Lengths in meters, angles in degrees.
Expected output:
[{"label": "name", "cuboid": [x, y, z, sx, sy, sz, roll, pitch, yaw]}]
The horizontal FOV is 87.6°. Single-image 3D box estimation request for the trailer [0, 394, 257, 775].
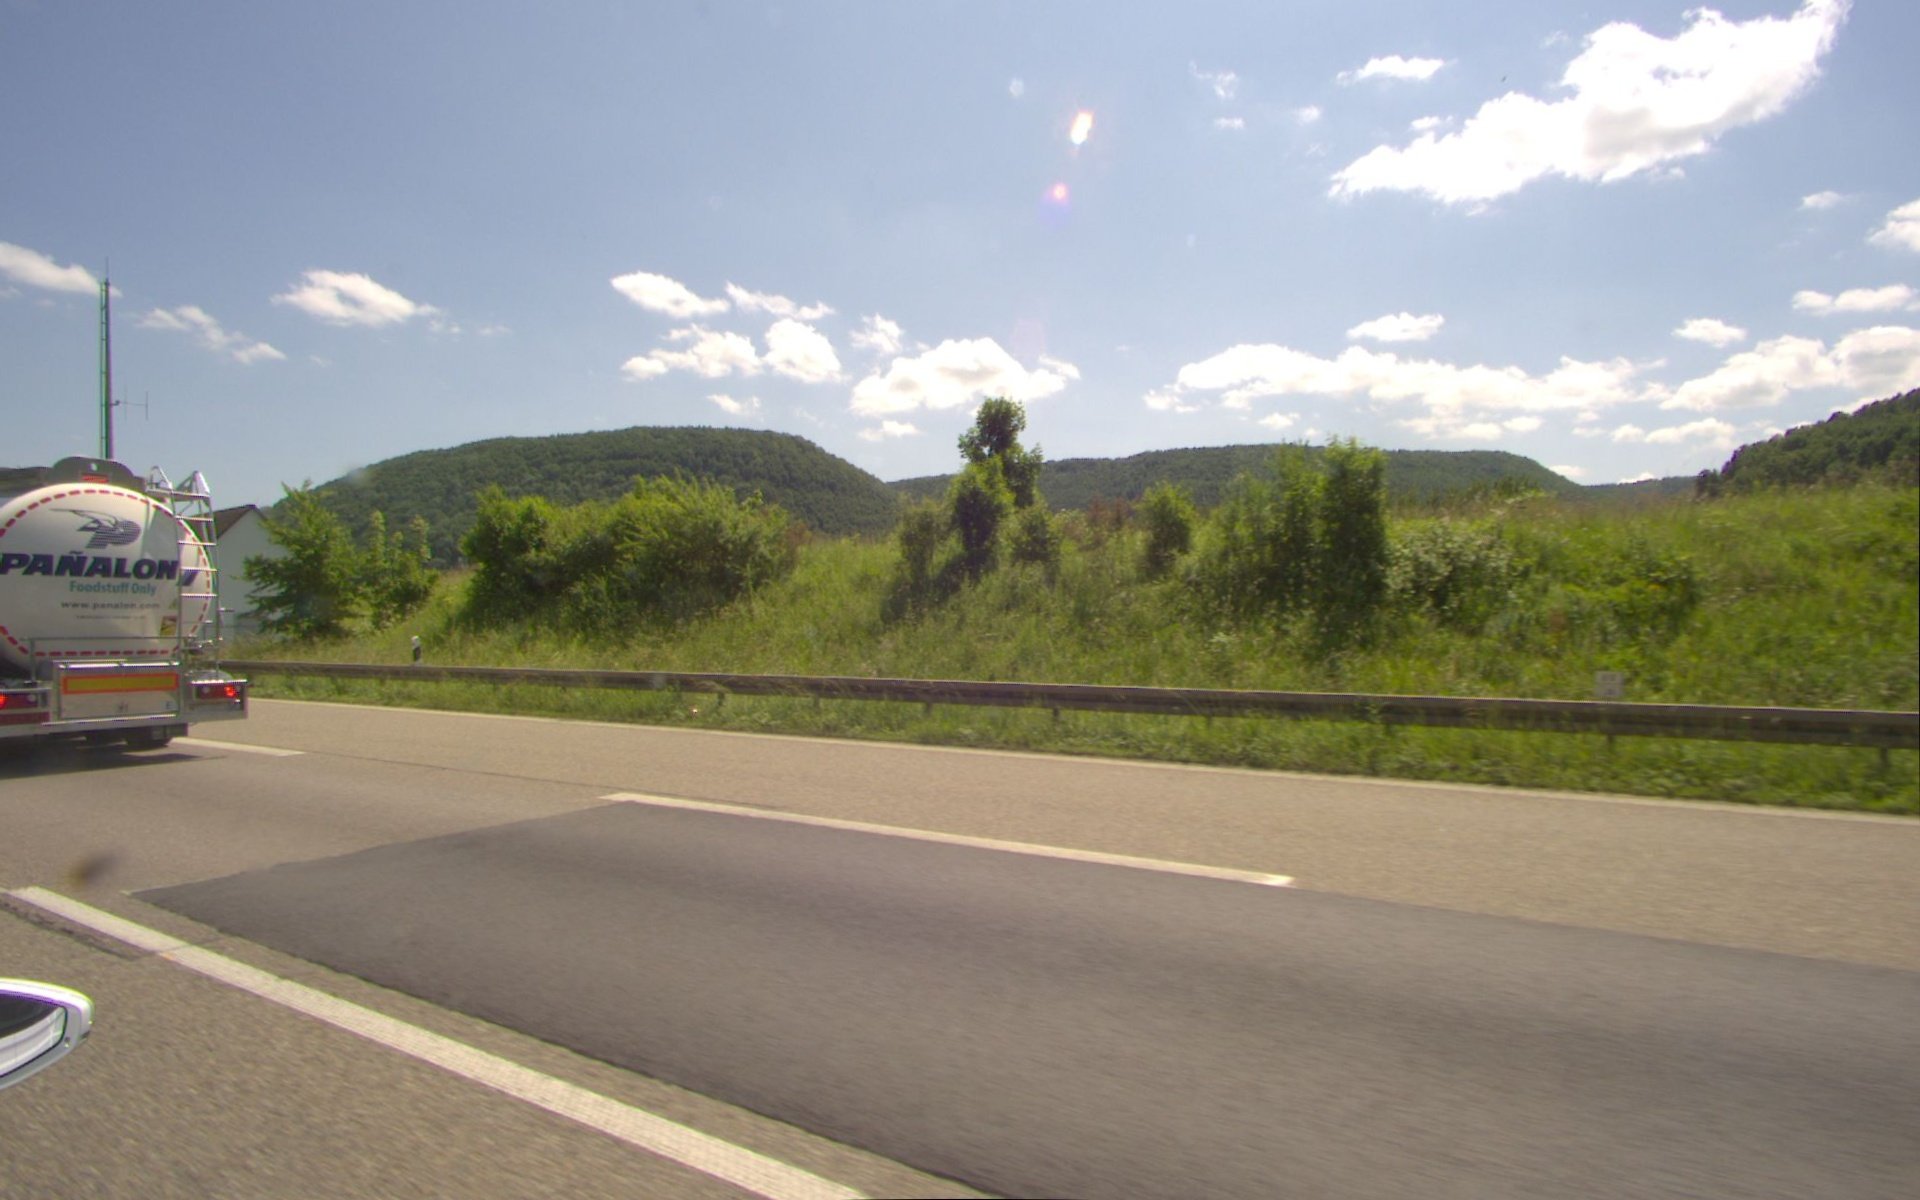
[{"label": "trailer", "cuboid": [-13.999, -0.036, 13.887, 11.719, 3.783, 2.534, -1, -1, 32]}]
